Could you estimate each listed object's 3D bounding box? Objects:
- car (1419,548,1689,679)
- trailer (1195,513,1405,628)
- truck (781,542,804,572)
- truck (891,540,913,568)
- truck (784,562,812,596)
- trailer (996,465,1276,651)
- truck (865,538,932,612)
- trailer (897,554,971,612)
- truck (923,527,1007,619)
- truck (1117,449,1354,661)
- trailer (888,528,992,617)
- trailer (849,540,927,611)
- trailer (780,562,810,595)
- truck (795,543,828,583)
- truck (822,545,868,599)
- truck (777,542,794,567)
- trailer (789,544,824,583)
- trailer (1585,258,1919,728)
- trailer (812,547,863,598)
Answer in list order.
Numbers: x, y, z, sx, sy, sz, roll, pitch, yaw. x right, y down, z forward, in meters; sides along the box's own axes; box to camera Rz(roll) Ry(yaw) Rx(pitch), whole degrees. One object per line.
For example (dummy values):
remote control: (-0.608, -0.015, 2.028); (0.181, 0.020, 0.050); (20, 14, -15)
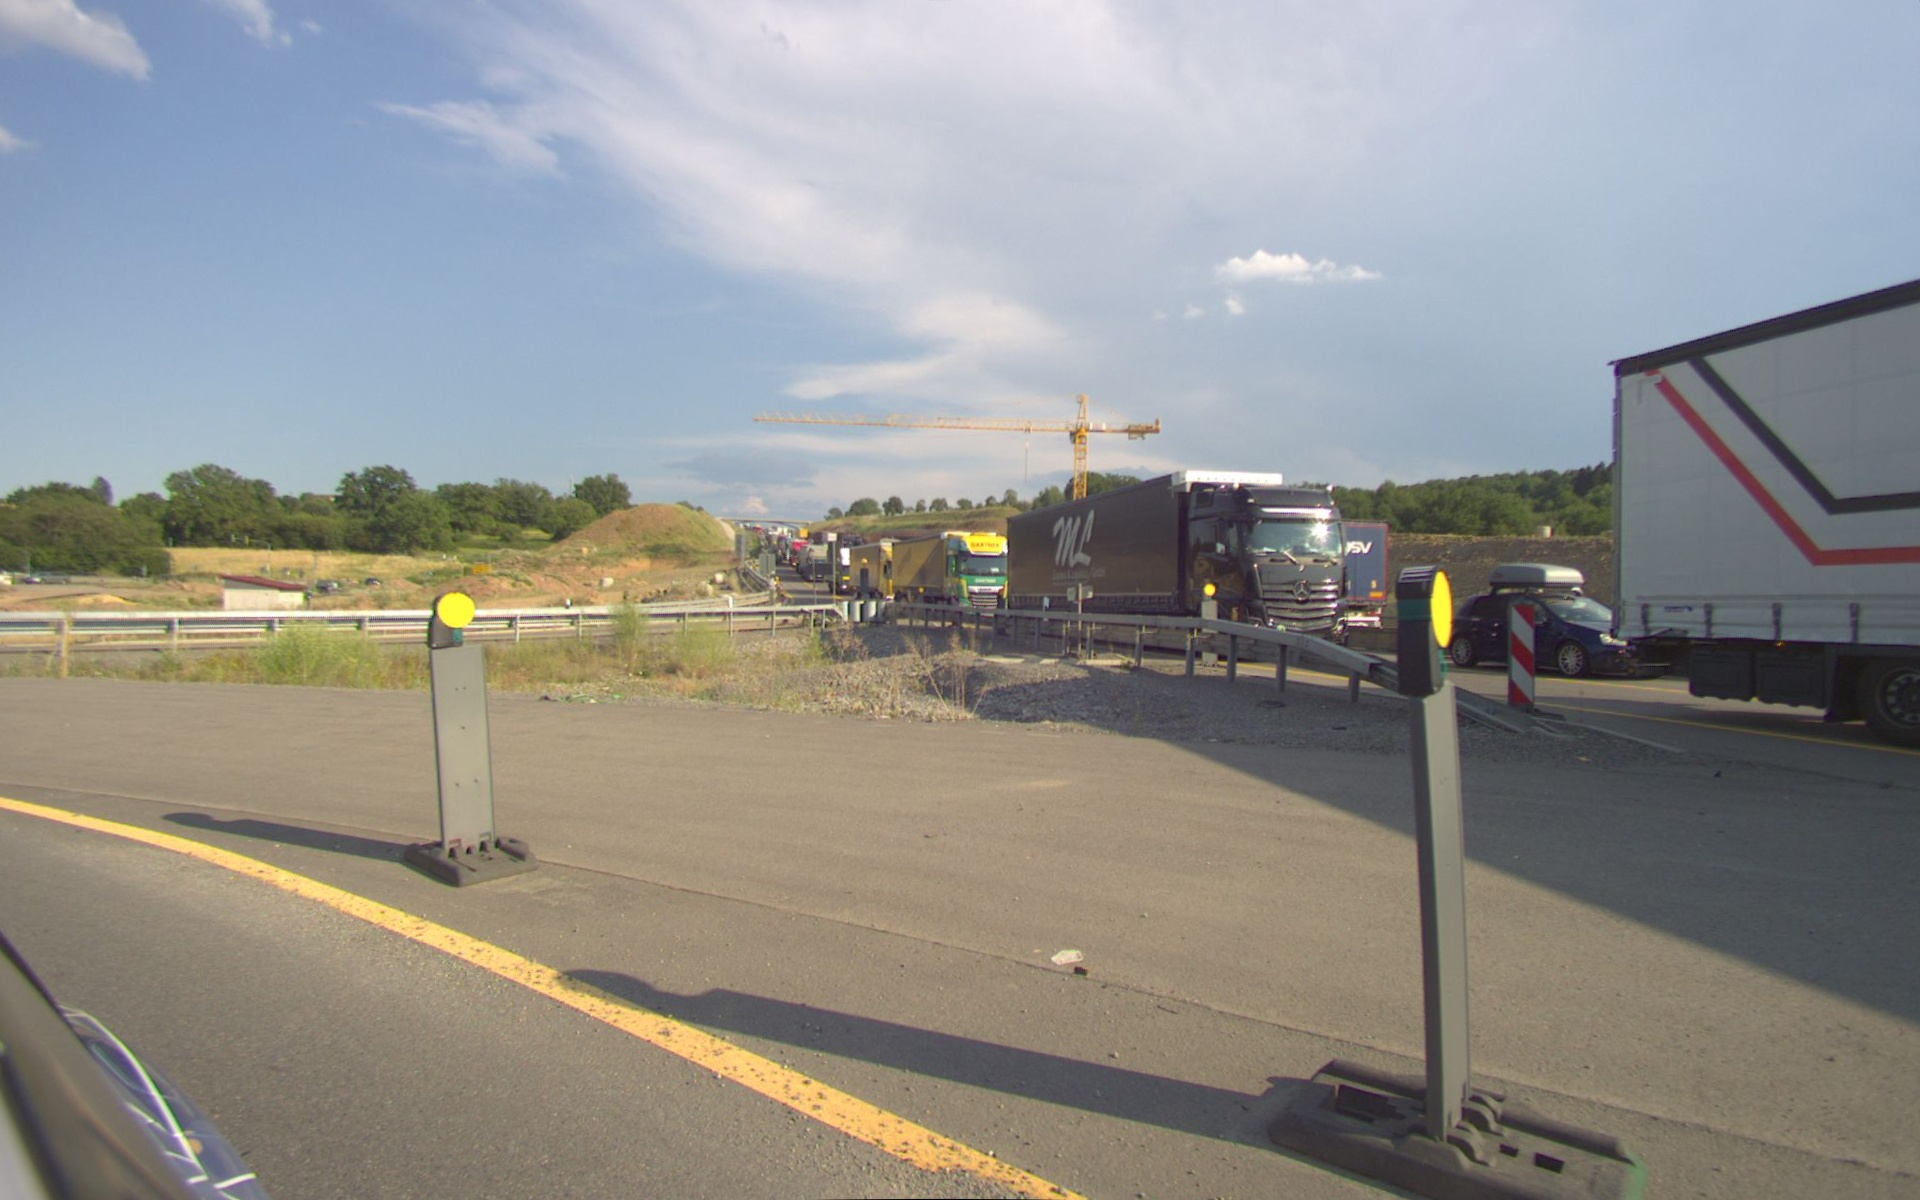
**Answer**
car: (10.427, 0.195, 18.202); (1.501, 2.029, 4.343); (2, 0, -14)
trailer: (12.628, -1.041, 38.922); (2.966, 3.780, 9.595); (2, 0, -13)
truck: (-25.972, -6.630, 156.591); (3.062, 4.346, 6.914); (2, 0, -13)
truck: (-10.551, -8.161, 182.619); (3.519, 4.445, 13.188); (2, 0, -4)
truck: (-21.985, -2.830, 136.927); (3.062, 4.346, 6.914); (2, 0, -13)
trailer: (4.203, -1.003, 29.201); (2.446, 4.092, 13.670); (1, 1, -15)
truck: (-4.044, -1.564, 64.922); (3.062, 4.346, 6.914); (2, 0, -13)
trailer: (-2.221, -1.284, 77.375); (2.818, 4.026, 13.513); (1, 1, -14)
truck: (0.126, -1.190, 46.331); (2.447, 3.931, 6.028); (1, 1, -13)
truck: (5.880, -0.896, 22.738); (2.447, 4.090, 6.028); (1, 1, -14)
trailer: (-1.379, -1.343, 52.691); (2.447, 3.988, 14.013); (1, 1, -13)
trailer: (-5.276, -1.609, 70.115); (3.062, 4.346, 14.289); (2, 0, -13)
trailer: (-23.547, -2.923, 143.653); (3.062, 4.346, 14.289); (2, 0, -13)
truck: (-17.234, -4.197, 116.956); (3.062, 4.346, 6.914); (2, 0, -13)
truck: (-10.094, -2.385, 88.464); (3.062, 4.346, 6.914); (2, 0, -13)
truck: (-31.424, -8.172, 181.949); (2.482, 4.031, 8.574); (2, 0, -12)
trailer: (-18.994, -4.312, 124.424); (3.062, 4.346, 14.289); (2, 0, -13)
trailer: (10.030, -0.834, 5.229); (2.447, 3.907, 13.669); (1, 1, -14)
trailer: (-11.653, -2.471, 94.947); (3.062, 4.346, 14.289); (2, 0, -13)
